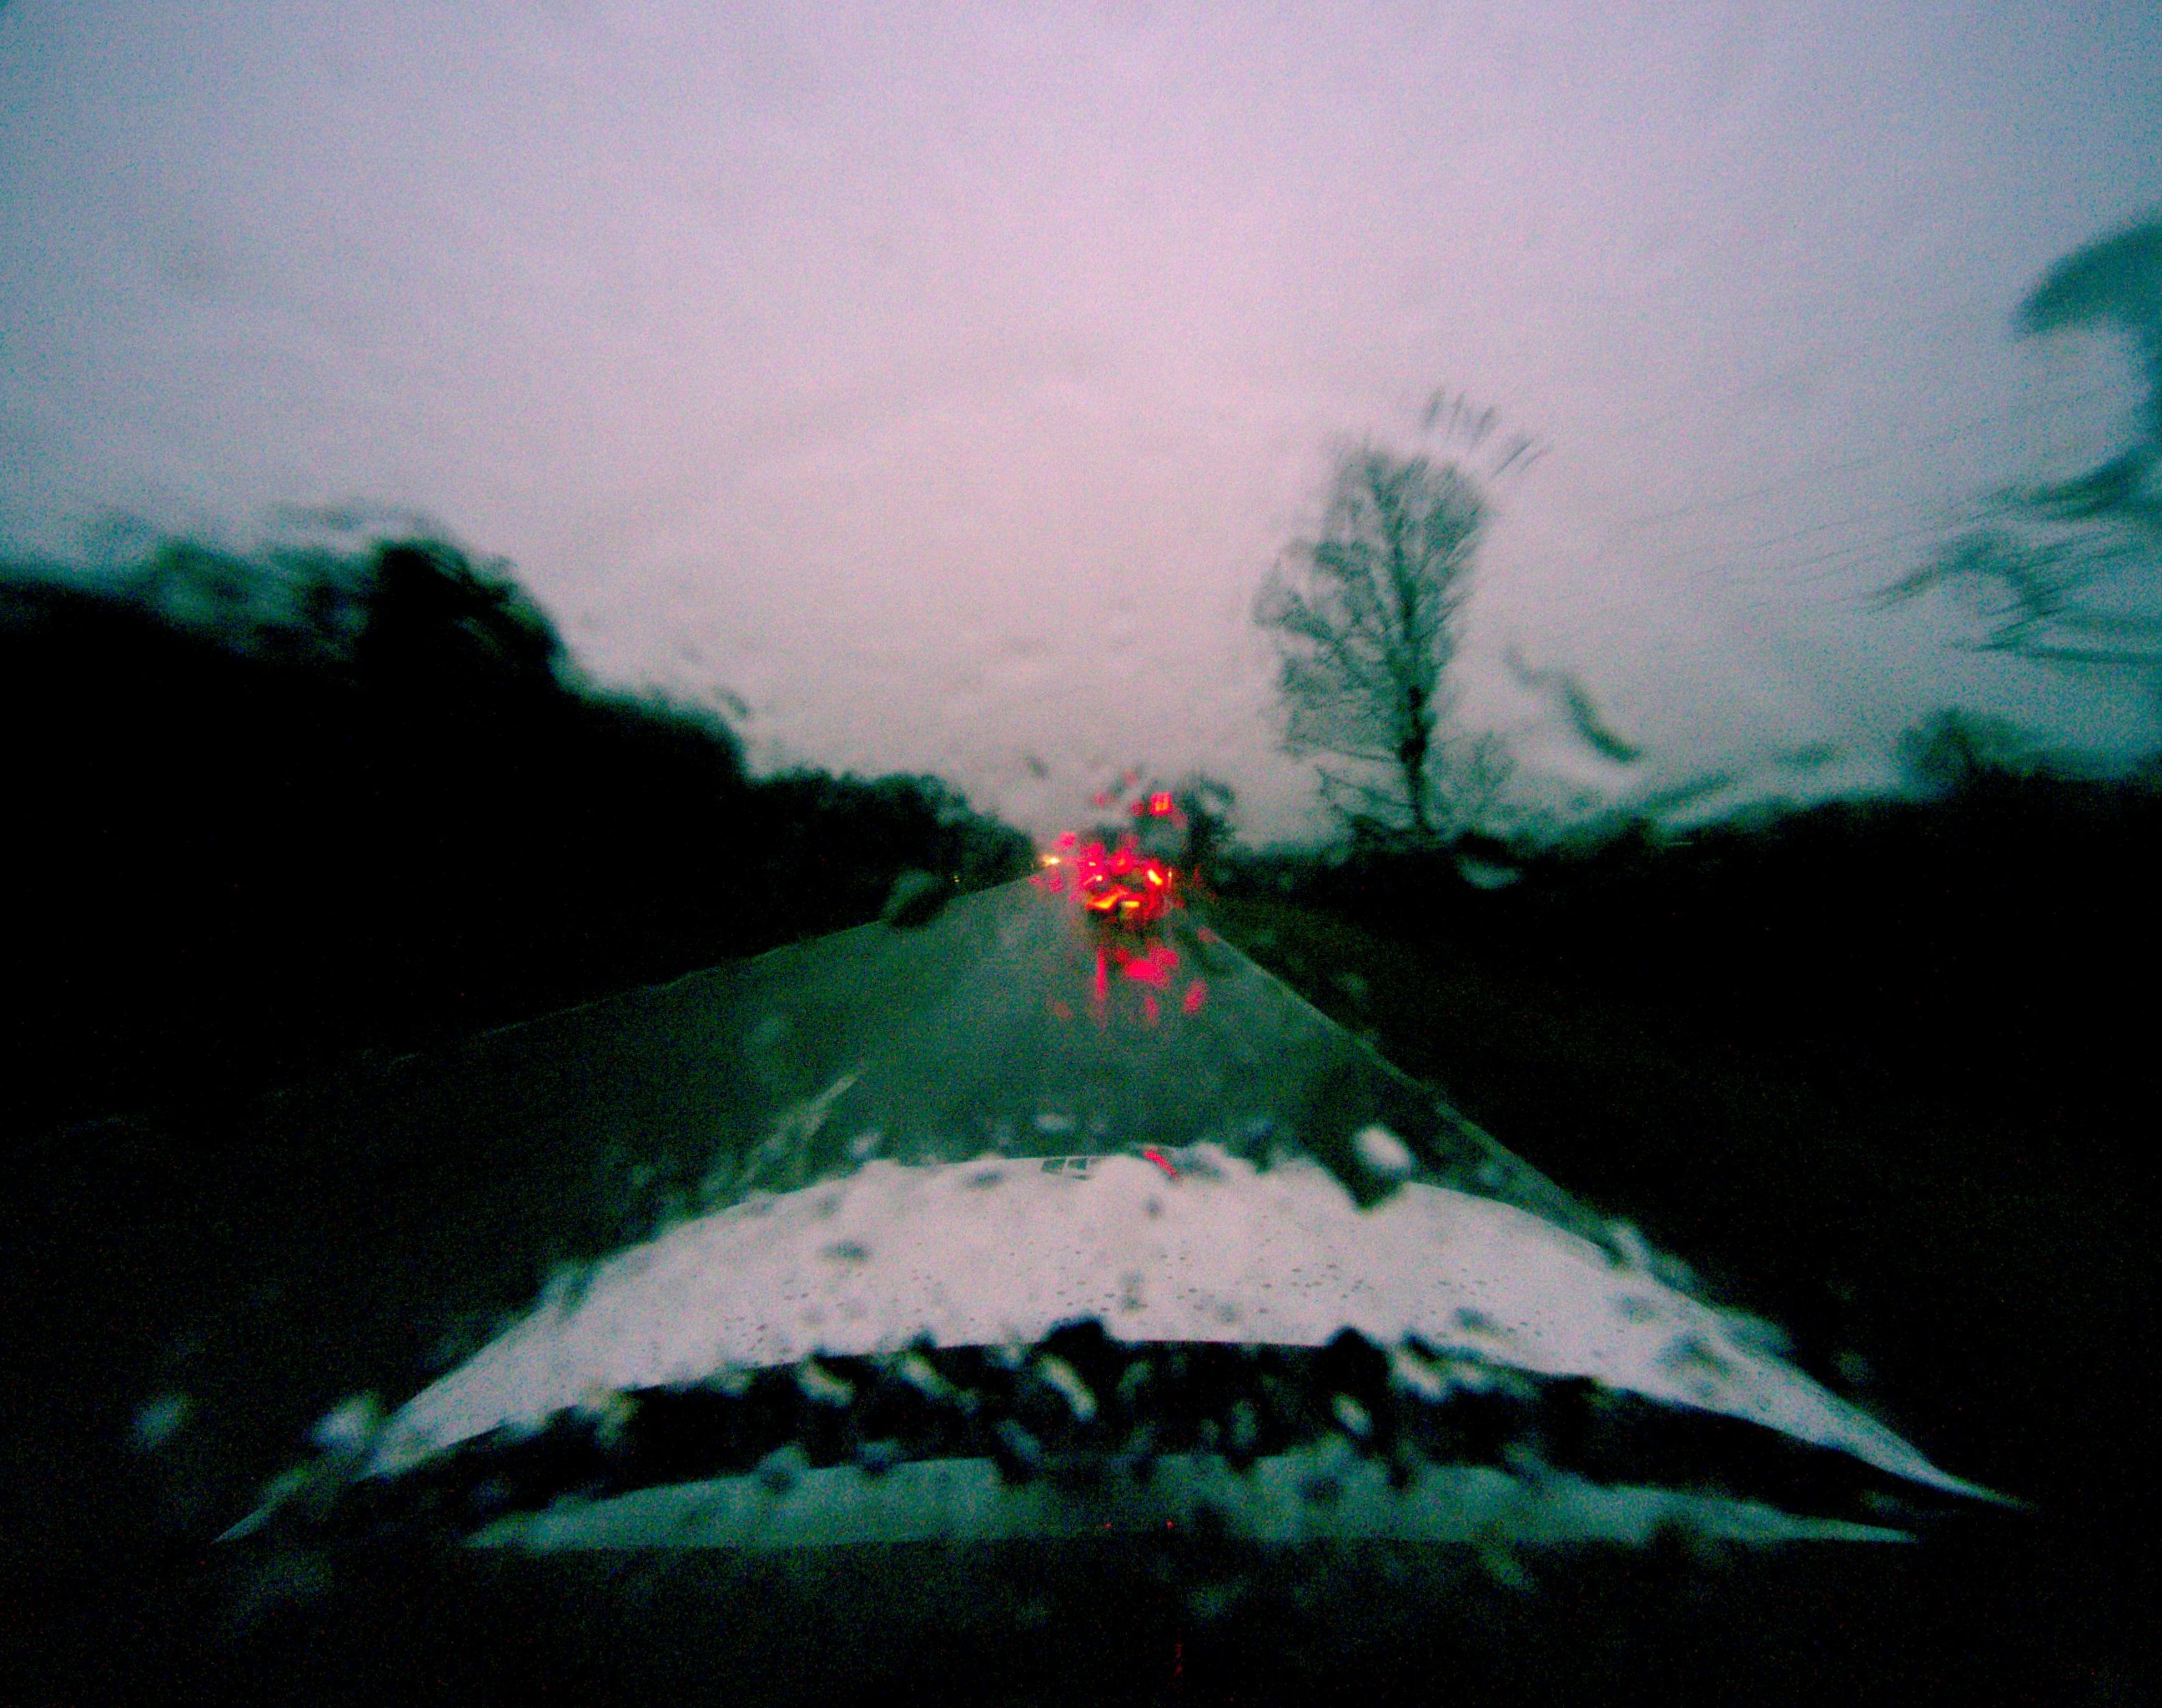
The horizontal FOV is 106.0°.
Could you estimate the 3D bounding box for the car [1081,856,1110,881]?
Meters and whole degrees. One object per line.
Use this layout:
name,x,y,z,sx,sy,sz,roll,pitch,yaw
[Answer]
car,0.900,0.821,48.163,1.540,1.397,3.872,-1,0,3

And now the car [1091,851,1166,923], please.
car,1.118,0.716,19.504,1.596,1.522,3.872,-1,0,2
